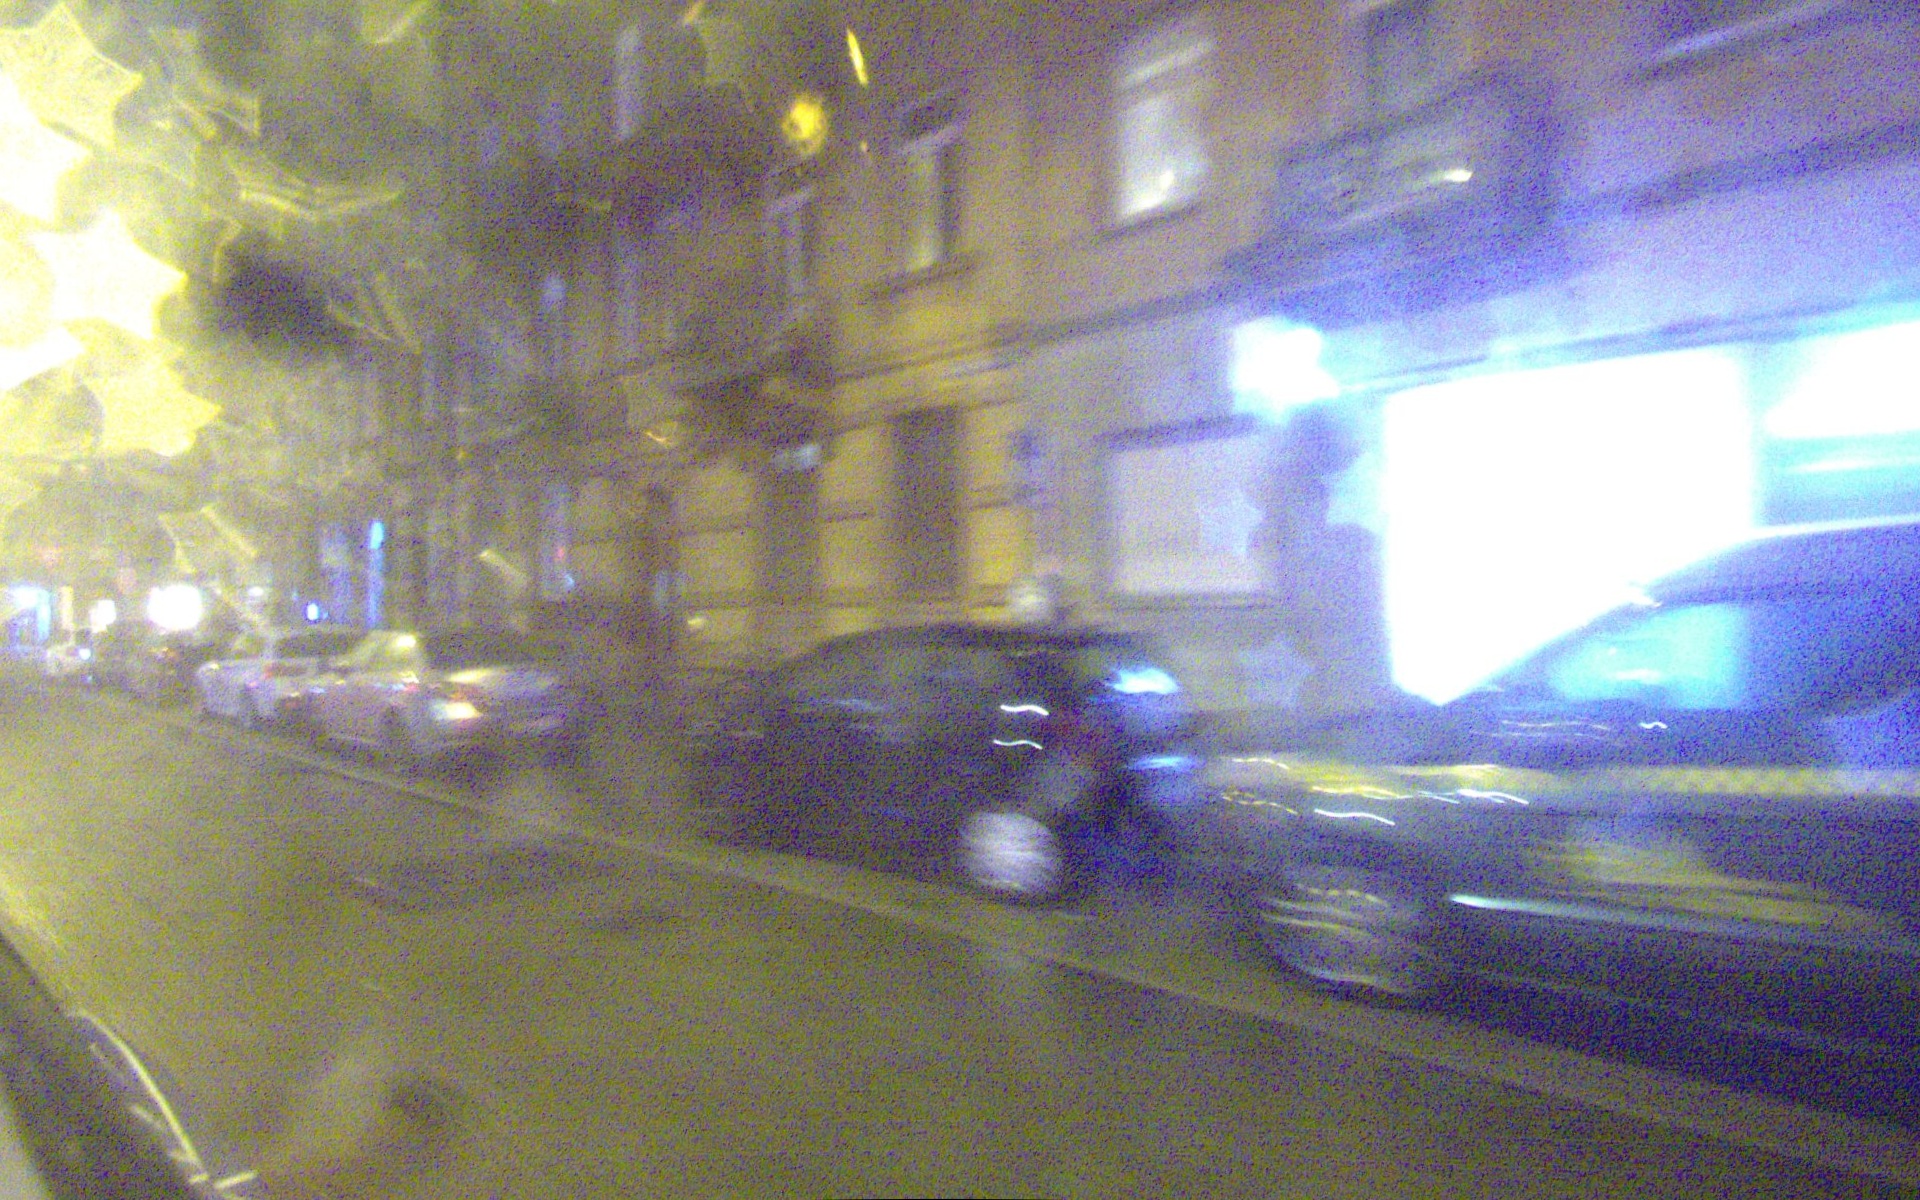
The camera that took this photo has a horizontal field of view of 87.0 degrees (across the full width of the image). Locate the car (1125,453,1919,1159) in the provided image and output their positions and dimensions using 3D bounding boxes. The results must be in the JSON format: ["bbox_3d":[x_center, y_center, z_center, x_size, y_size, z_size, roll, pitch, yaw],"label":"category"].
[{"bbox_3d":[3.125,0.534,3.354,4.827,1.843,1.882,-2,-1,42],"label":"car"}]

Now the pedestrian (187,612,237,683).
[{"bbox_3d":[-19.737,1.228,26.705,0.629,1.801,0.900,-1,1,42],"label":"pedestrian"}]

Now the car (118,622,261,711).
[{"bbox_3d":[-14.387,1.179,18.837,3.382,1.464,1.512,-2,-1,42],"label":"car"}]

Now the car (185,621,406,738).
[{"bbox_3d":[-9.943,1.079,15.003,4.271,1.464,1.708,-2,-1,42],"label":"car"}]

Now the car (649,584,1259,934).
[{"bbox_3d":[-0.221,0.760,6.485,3.718,1.587,1.708,-2,-1,42],"label":"car"}]

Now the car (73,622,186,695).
[{"bbox_3d":[-18.932,1.304,23.026,1.673,1.490,3.385,0,-2,-45],"label":"car"}]

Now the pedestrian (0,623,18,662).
[{"bbox_3d":[-50.518,2.261,53.642,0.587,2.028,0.766,-1,1,41],"label":"pedestrian"}]

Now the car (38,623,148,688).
[{"bbox_3d":[-21.998,1.388,25.638,3.962,1.490,1.674,-3,-2,43],"label":"car"}]

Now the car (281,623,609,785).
[{"bbox_3d":[-5.840,0.996,11.189,4.553,1.402,1.708,-2,-1,42],"label":"car"}]
